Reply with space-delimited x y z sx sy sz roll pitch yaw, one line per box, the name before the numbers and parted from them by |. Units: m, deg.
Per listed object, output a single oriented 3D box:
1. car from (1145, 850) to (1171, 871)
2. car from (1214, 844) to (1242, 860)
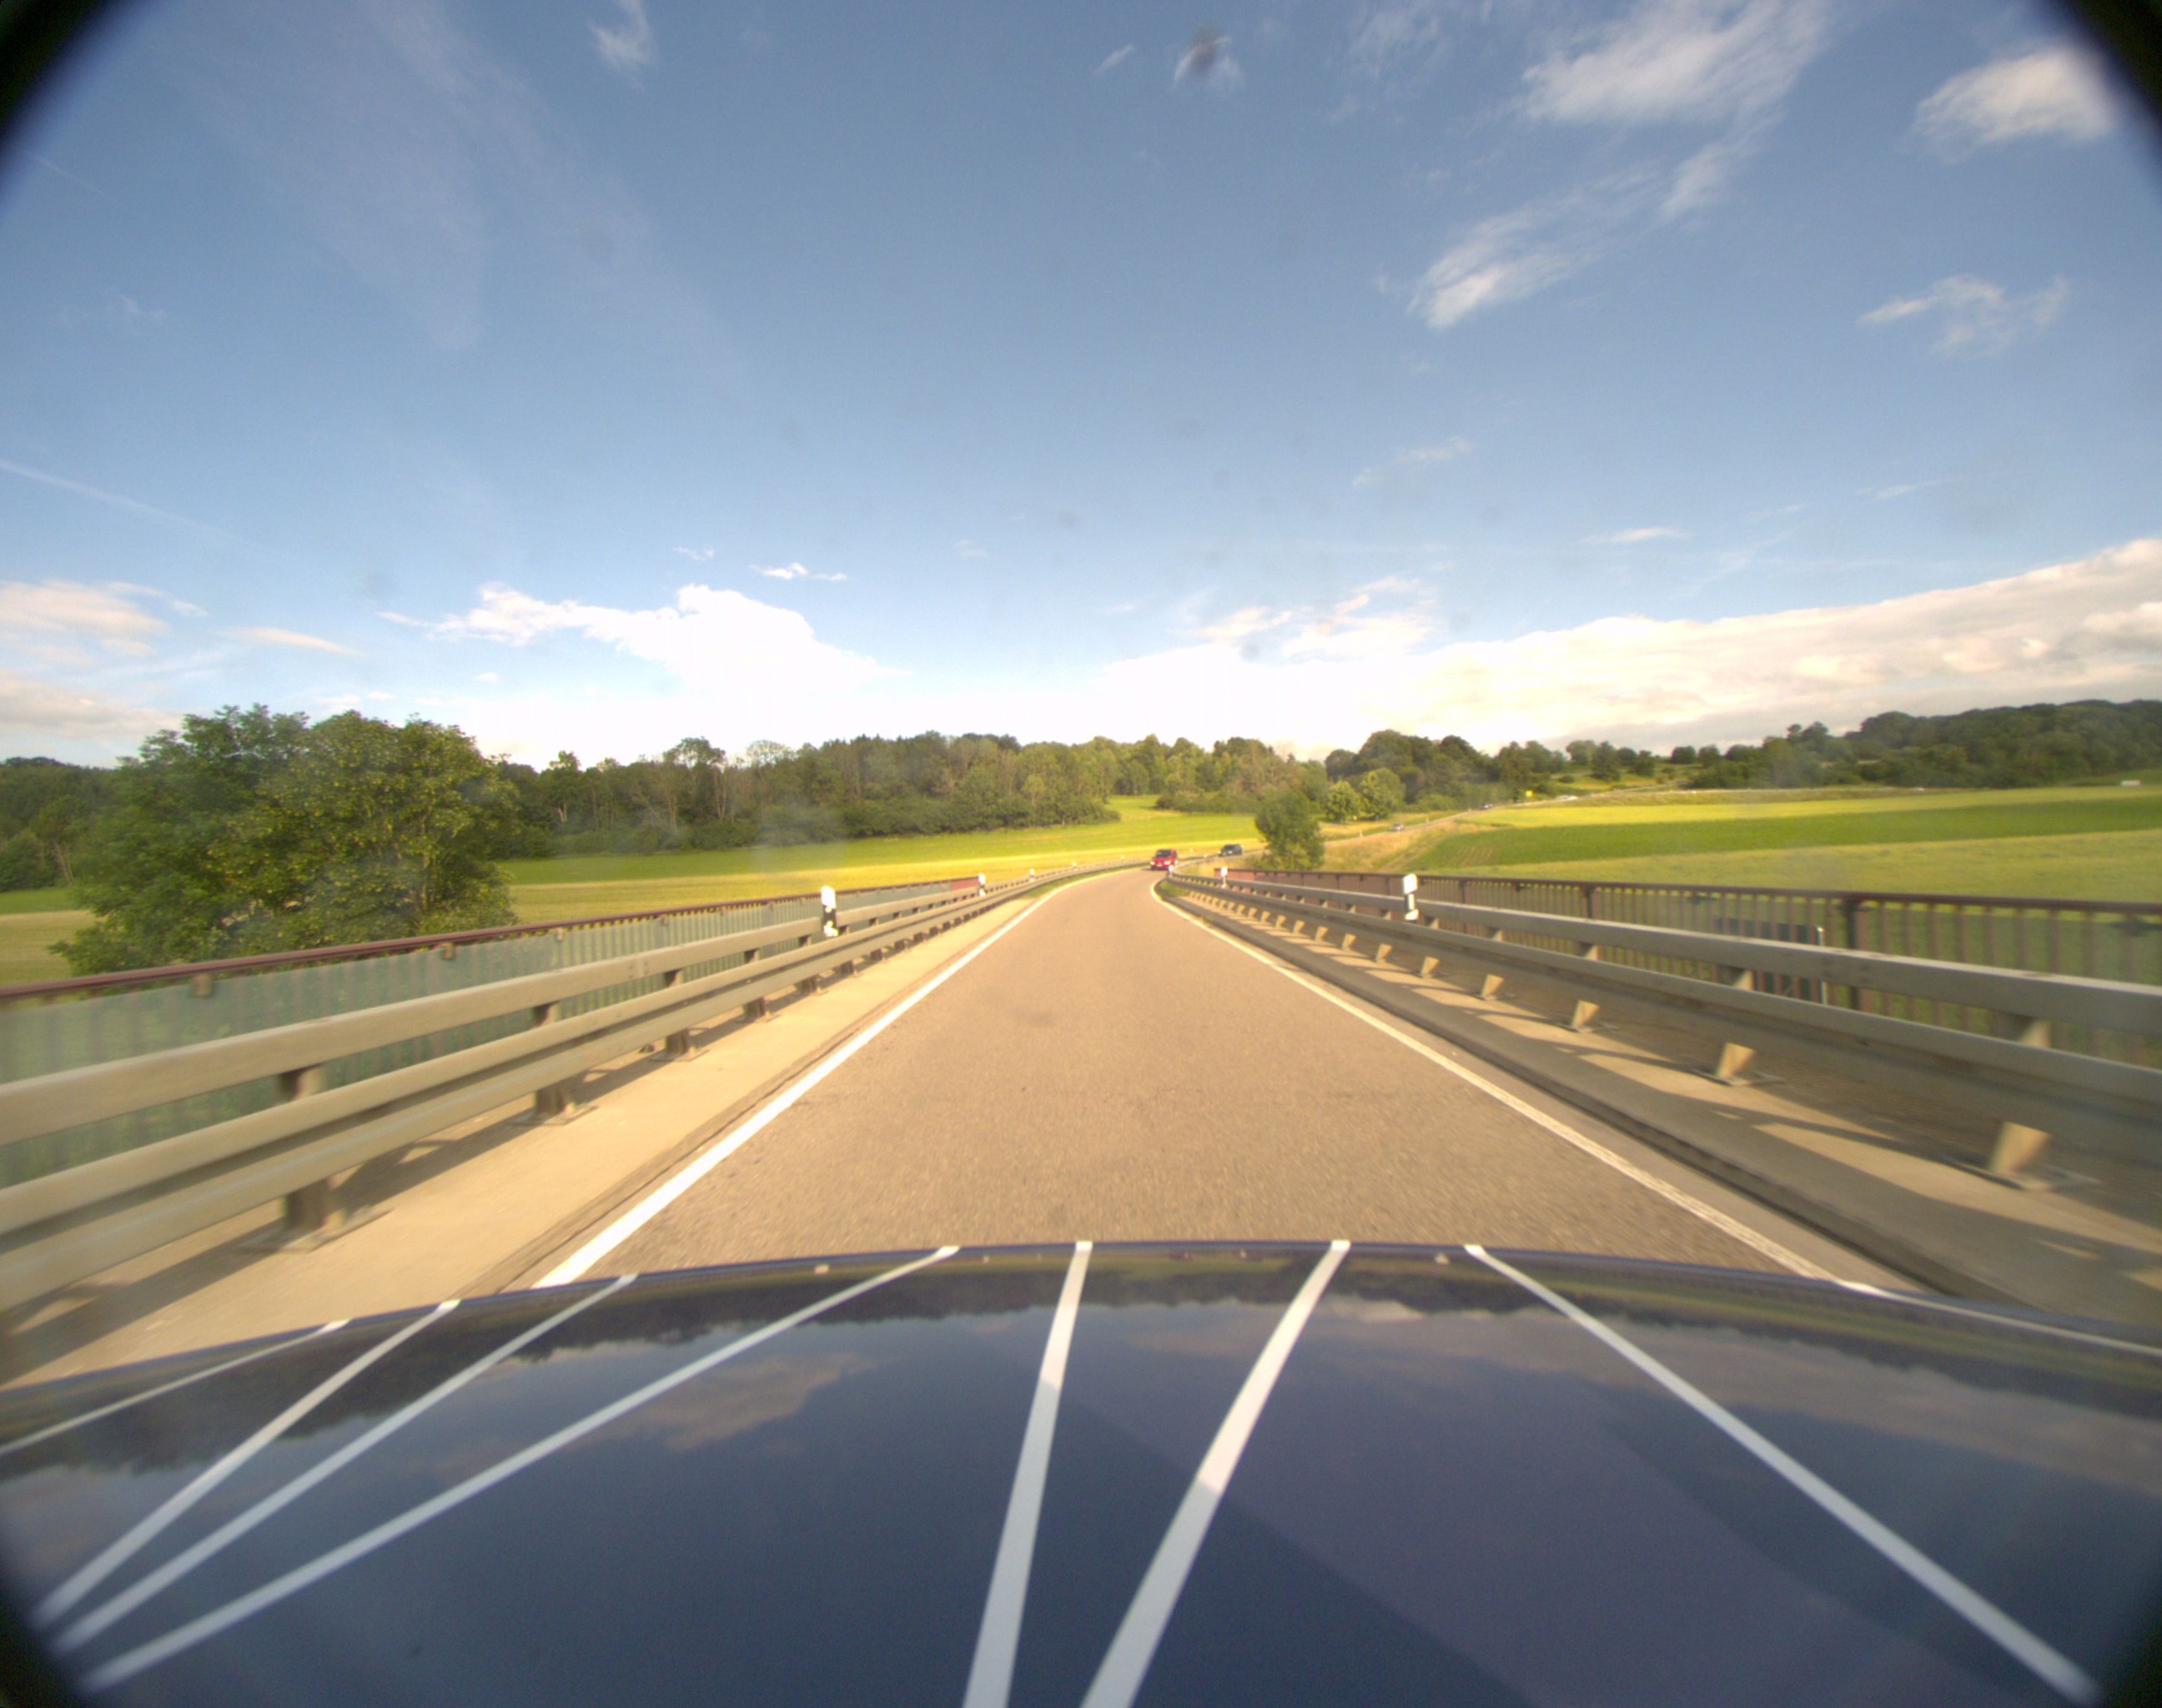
car | 6.631 0.543 65.443 1.819 1.645 4.003 -3 0 11
car | 16.709 -0.248 86.305 1.817 1.602 4.006 0 3 31
